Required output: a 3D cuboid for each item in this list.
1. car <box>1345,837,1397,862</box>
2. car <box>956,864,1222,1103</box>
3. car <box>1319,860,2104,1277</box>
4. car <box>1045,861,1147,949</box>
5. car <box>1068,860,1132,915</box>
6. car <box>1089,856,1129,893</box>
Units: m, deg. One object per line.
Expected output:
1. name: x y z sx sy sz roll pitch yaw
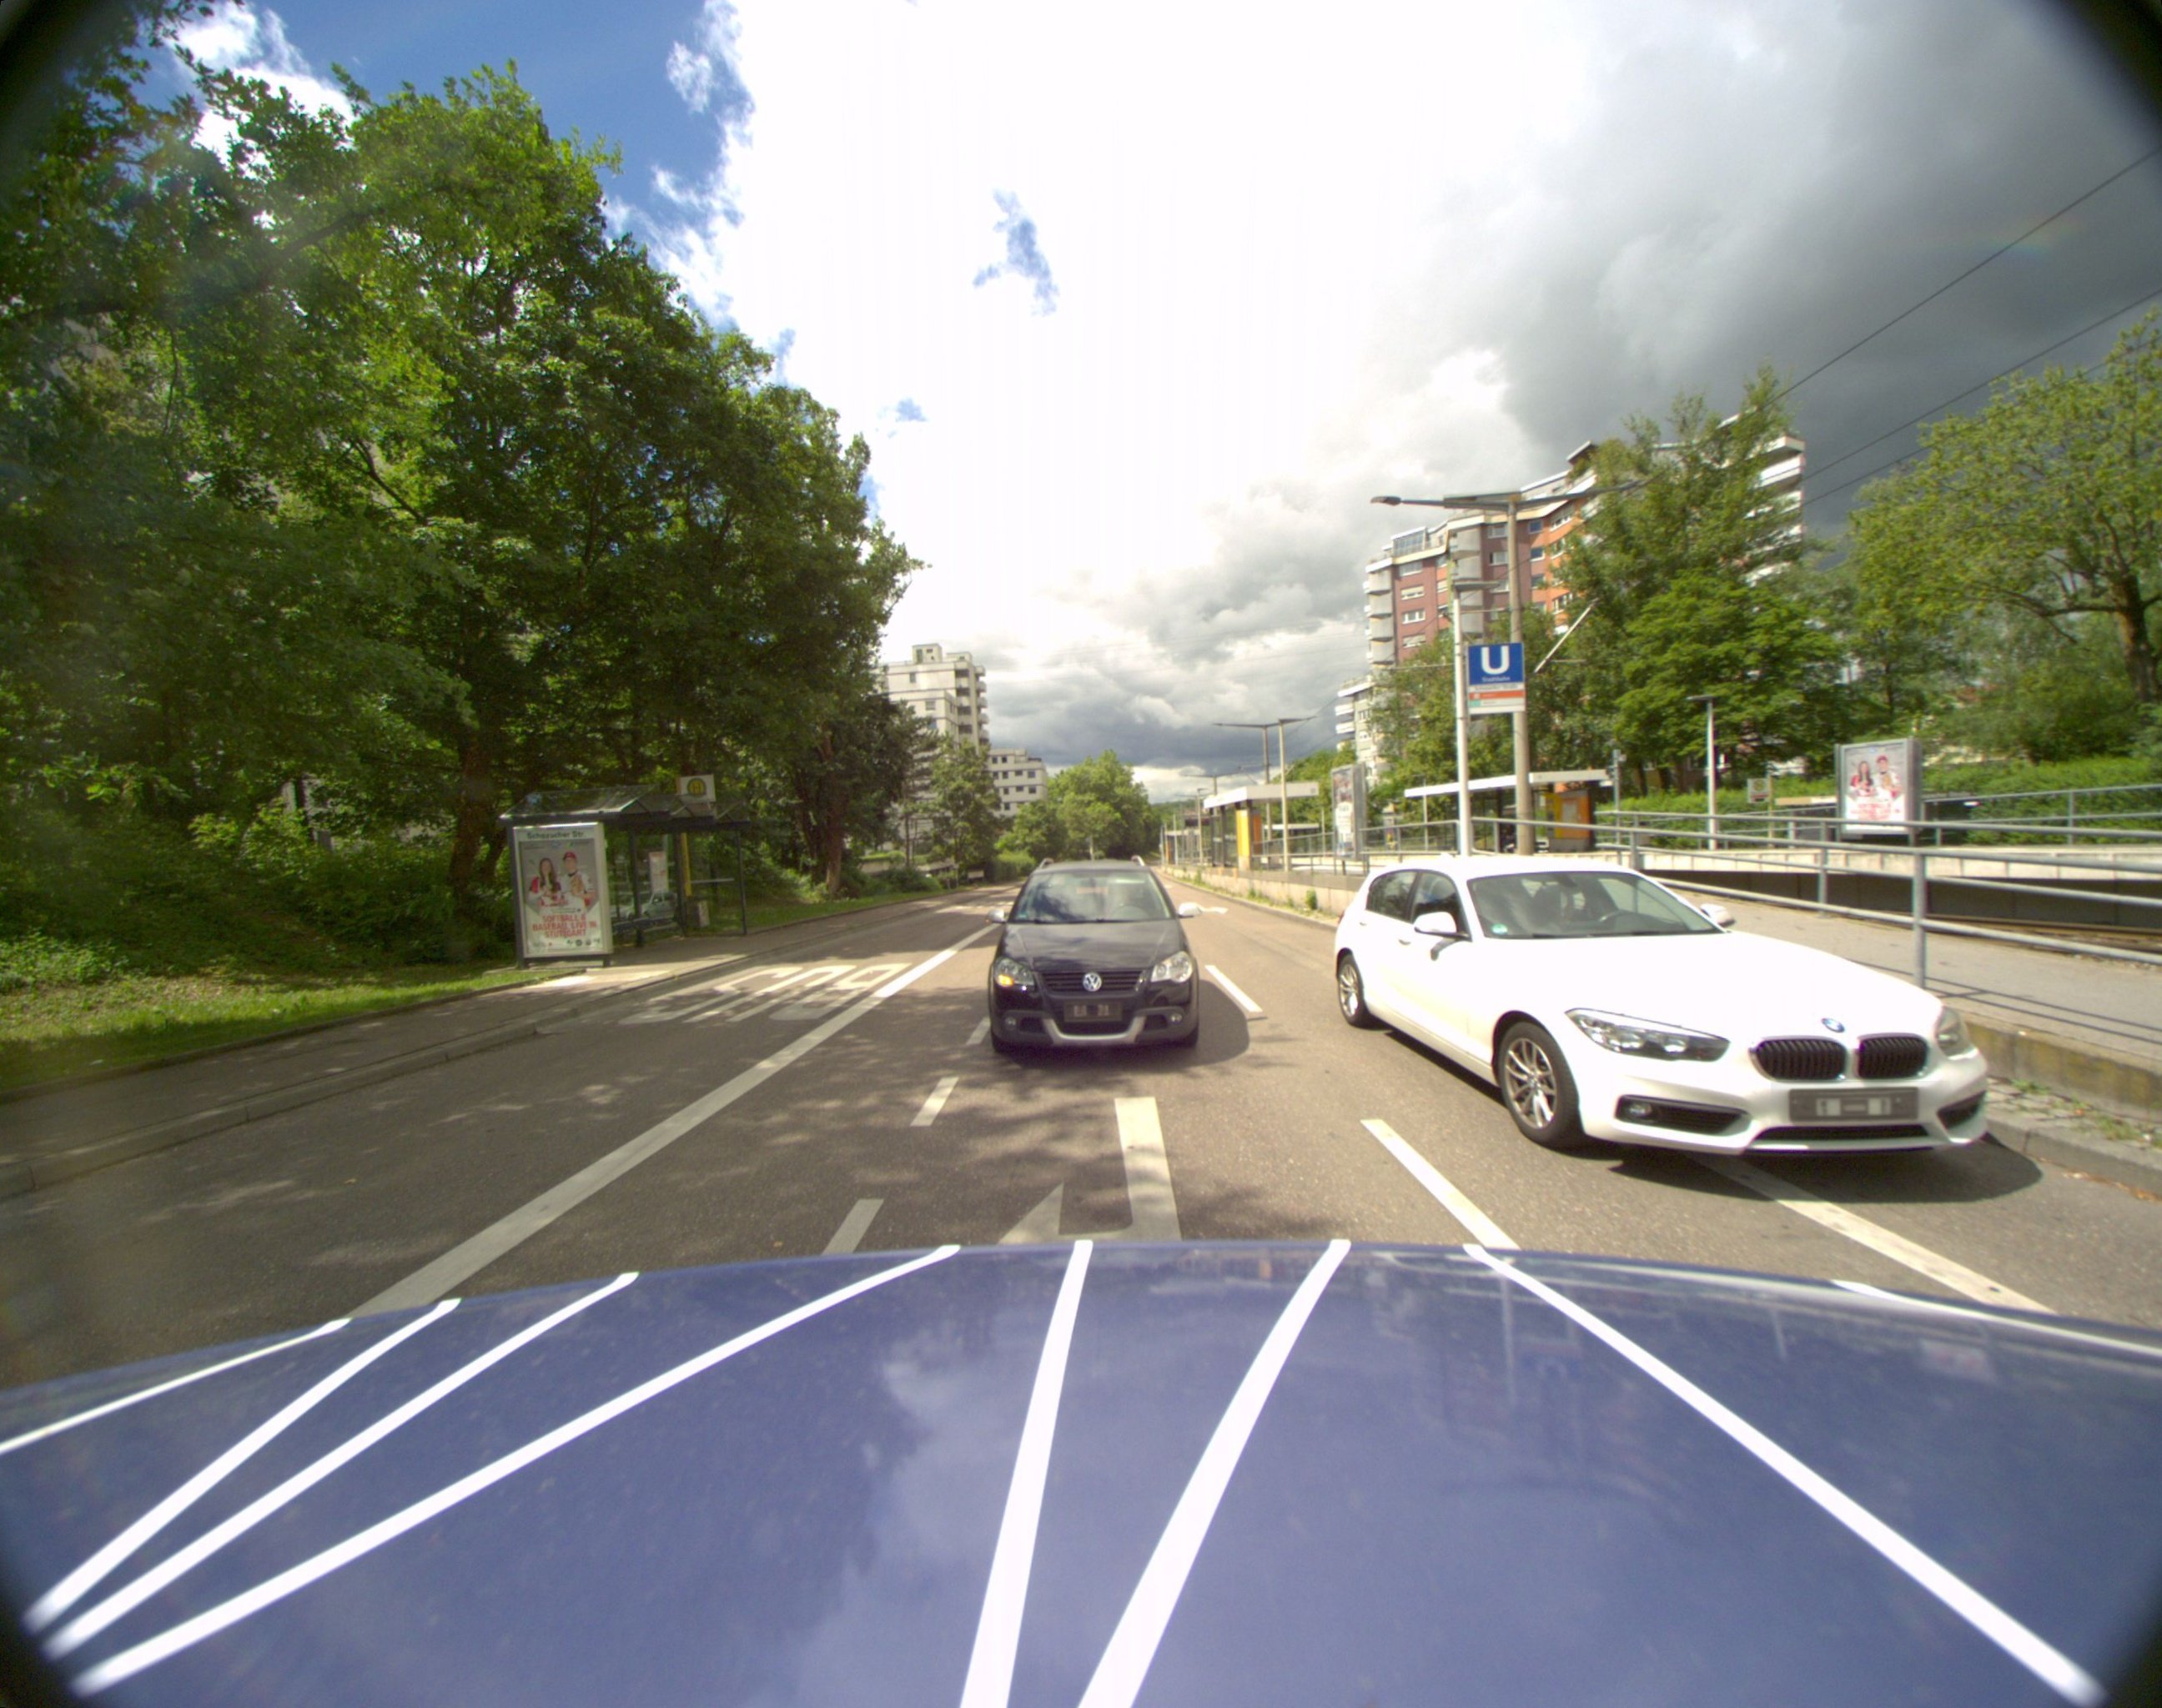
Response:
1. car: 19.898 -0.331 52.300 1.998 1.625 4.460 -1 0 2
2. car: 0.084 0.899 7.102 1.732 1.501 4.000 -2 0 1
3. car: 3.019 0.837 4.878 1.732 1.453 4.000 -2 1 1
4. car: 0.295 0.917 15.352 1.732 1.453 4.000 -2 0 1
5. car: 0.649 0.952 23.311 1.732 1.452 4.001 -2 0 3
6. car: 1.285 0.921 35.909 1.732 1.505 4.000 -2 1 1
